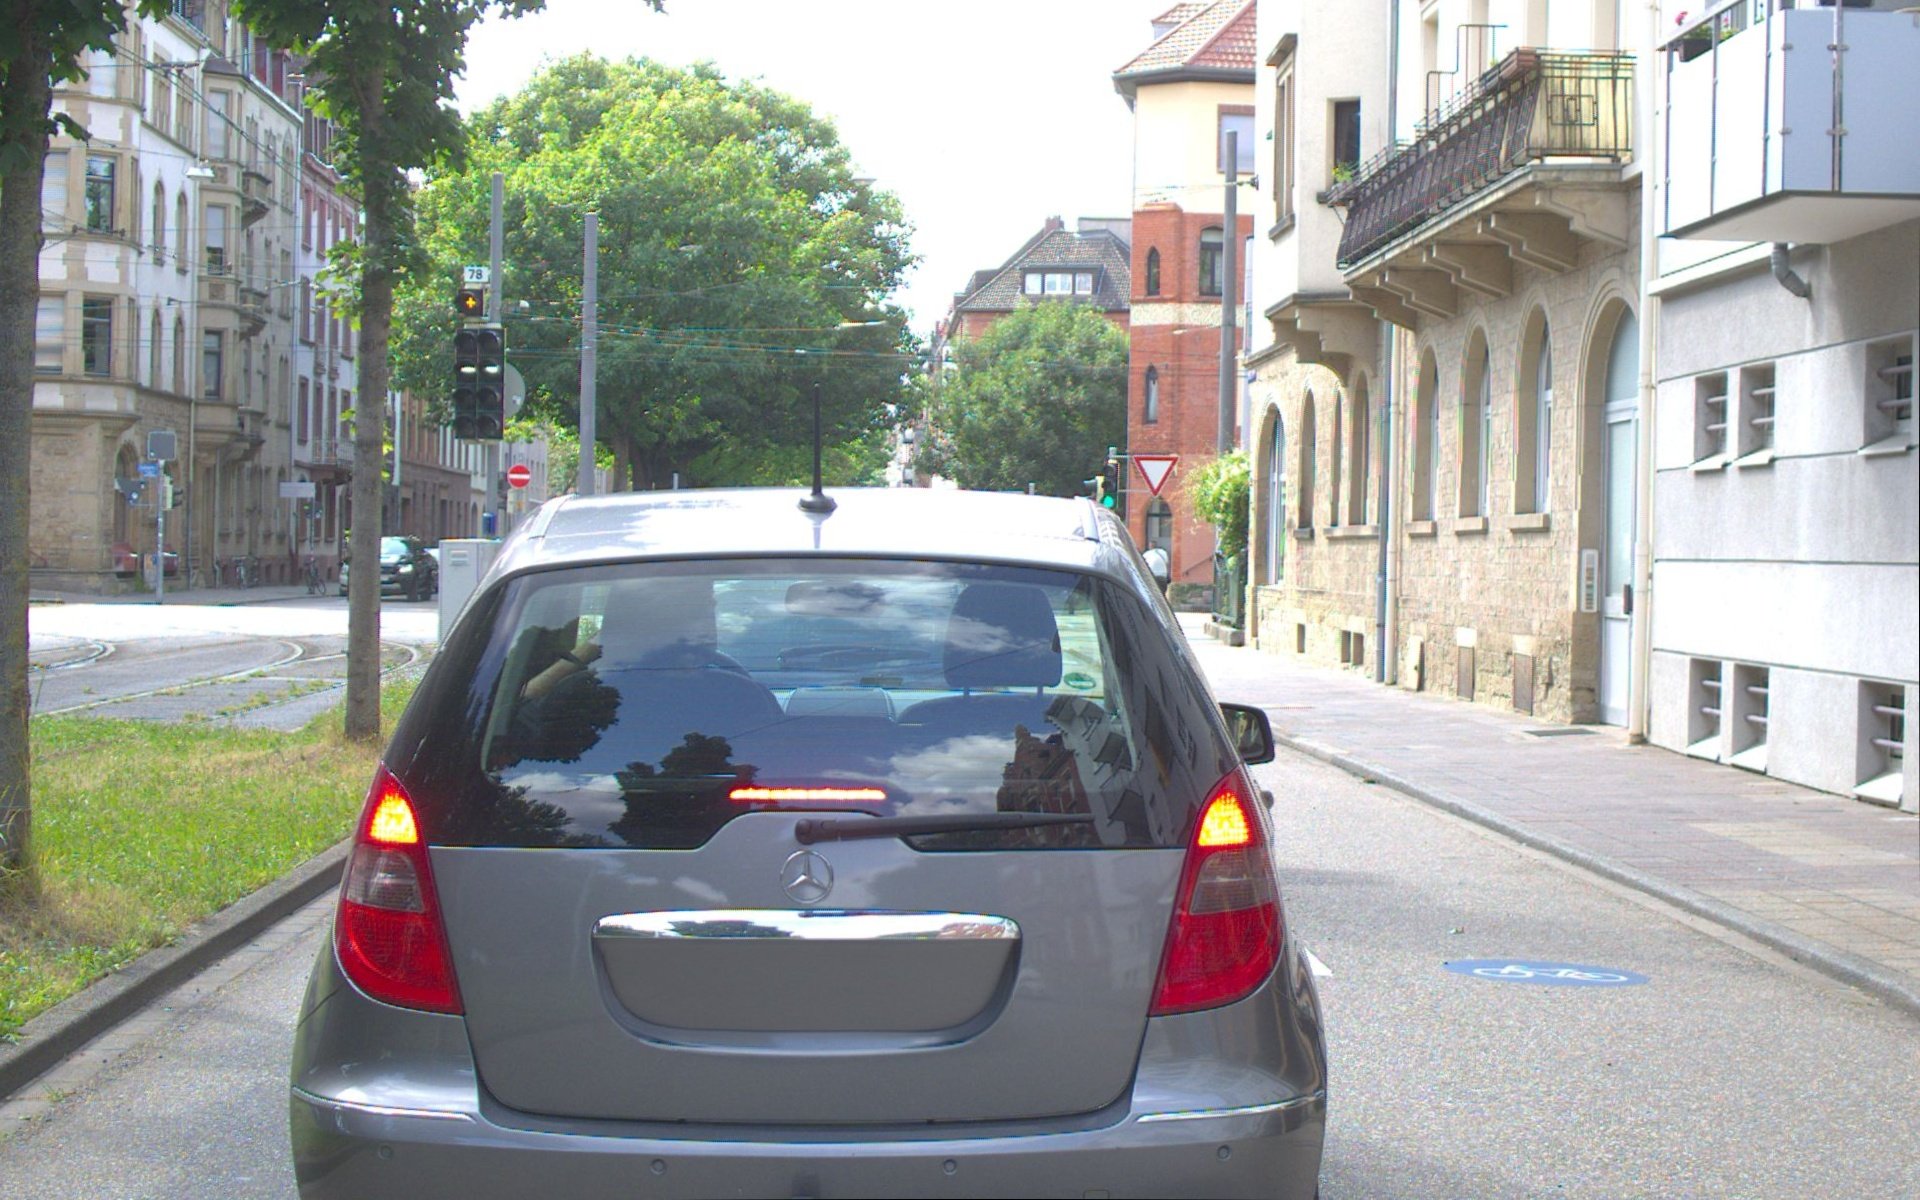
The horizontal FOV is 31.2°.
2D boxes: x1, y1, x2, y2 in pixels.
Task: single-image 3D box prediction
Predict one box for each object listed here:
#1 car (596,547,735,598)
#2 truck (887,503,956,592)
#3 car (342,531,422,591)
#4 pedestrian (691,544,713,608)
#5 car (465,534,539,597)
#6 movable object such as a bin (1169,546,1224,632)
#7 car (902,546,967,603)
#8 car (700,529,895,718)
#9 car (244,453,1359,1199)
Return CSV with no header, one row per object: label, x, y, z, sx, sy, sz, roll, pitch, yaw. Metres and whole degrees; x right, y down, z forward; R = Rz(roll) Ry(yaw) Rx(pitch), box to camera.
car,-8.462,-0.796,98.597,1.969,1.334,3.999,1,1,-40
truck,-1.302,-1.768,116.880,2.123,2.960,4.000,1,1,2
car,-16.060,-1.089,95.705,1.993,1.612,4.001,0,1,-7
pedestrian,-6.972,-0.658,92.919,0.493,1.719,0.654,1,1,-11
car,-12.938,-0.988,97.245,1.993,1.722,4.001,0,1,-7
movable object such as a bin,4.092,-0.190,59.574,0.714,1.467,0.983,0,1,-10
car,-0.763,-0.783,103.991,1.752,1.627,3.499,1,1,2
car,-1.514,0.189,33.073,1.722,1.700,3.677,1,1,-1
car,-0.268,0.556,7.183,1.722,1.600,3.677,1,1,-1
